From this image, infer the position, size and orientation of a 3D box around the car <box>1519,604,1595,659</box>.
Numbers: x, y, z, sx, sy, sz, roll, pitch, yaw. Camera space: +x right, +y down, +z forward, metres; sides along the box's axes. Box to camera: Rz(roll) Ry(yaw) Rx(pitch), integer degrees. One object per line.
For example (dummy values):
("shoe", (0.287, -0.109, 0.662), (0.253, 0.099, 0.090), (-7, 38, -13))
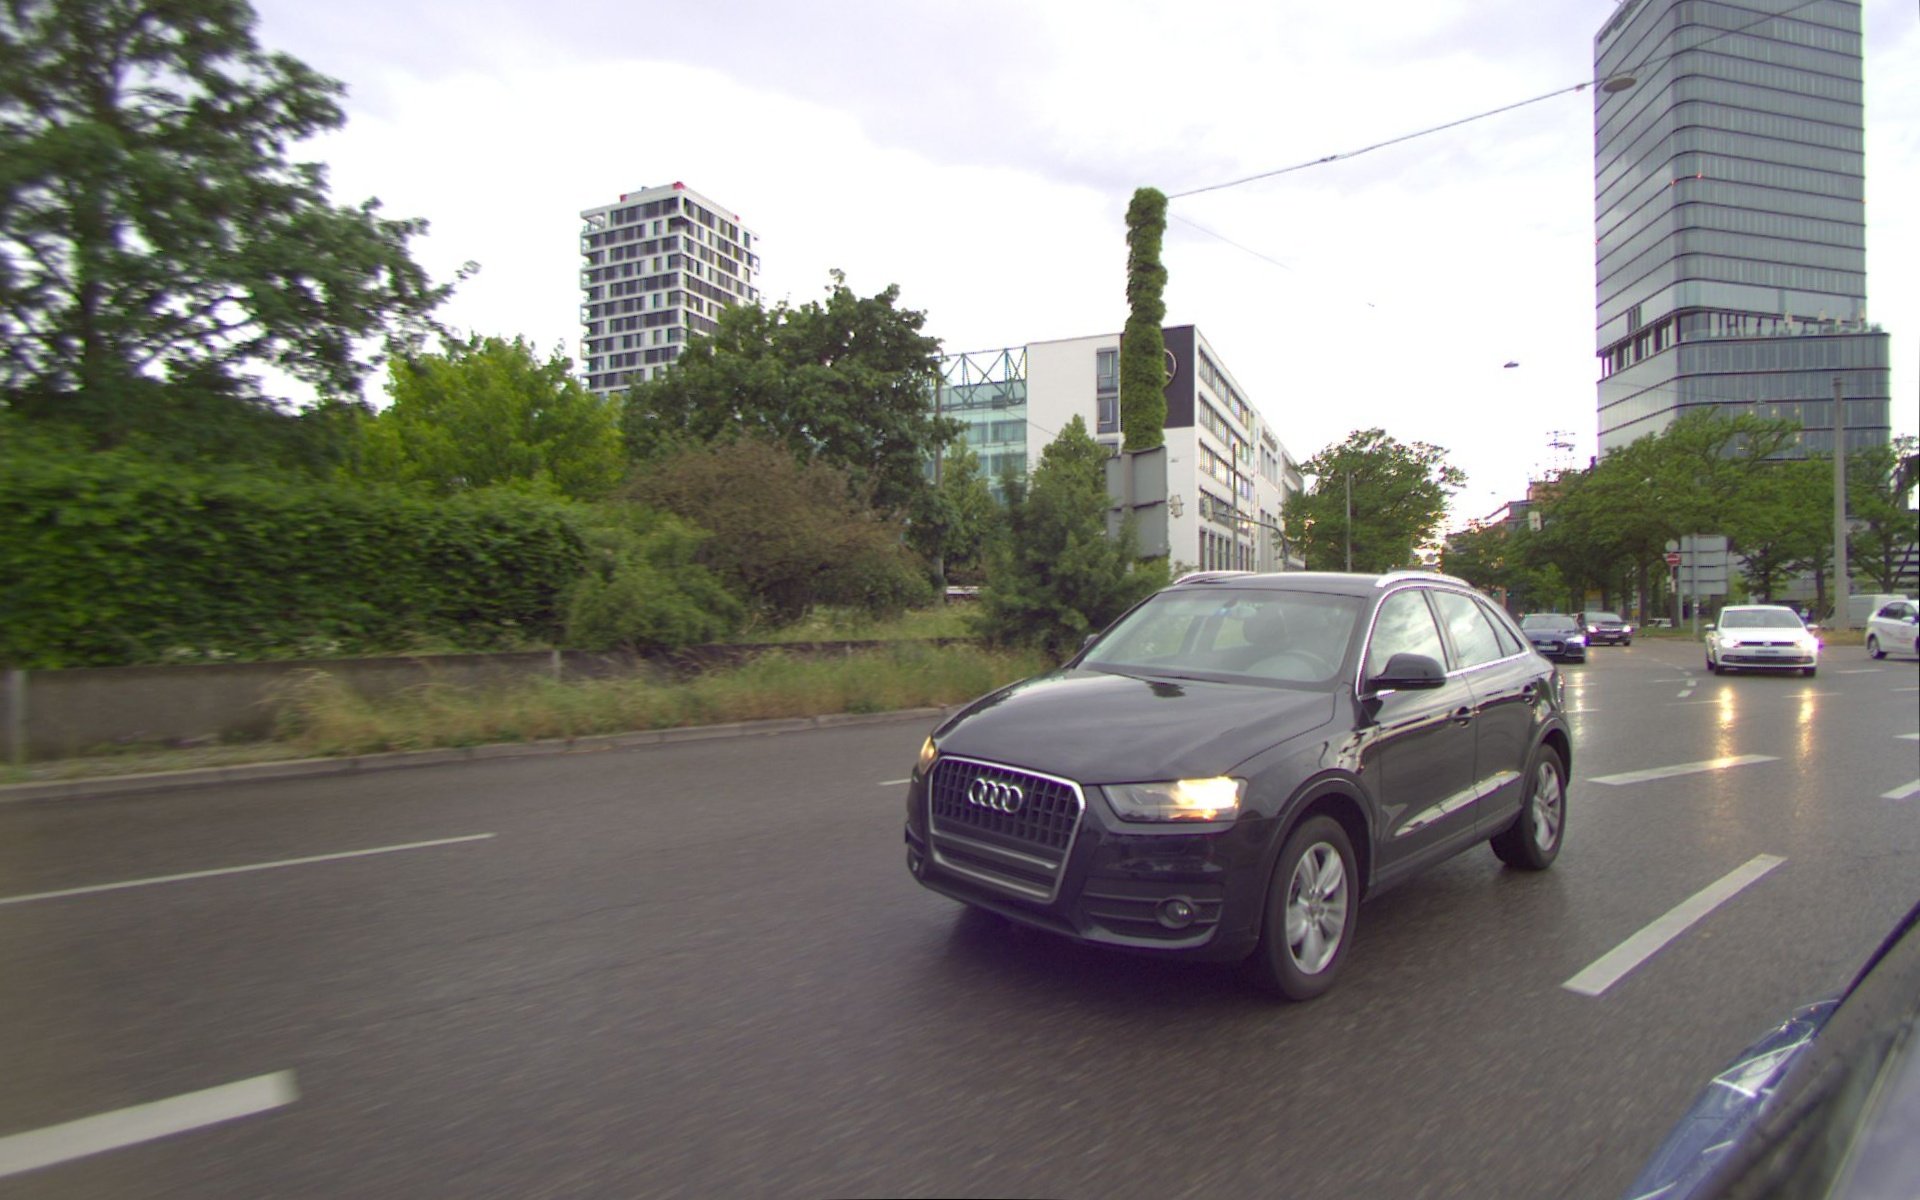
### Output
("car", (17.172, 0.859, 29.054), (1.747, 1.416, 3.954), (-1, 0, 32))

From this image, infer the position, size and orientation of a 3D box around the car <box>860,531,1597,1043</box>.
("car", (1.628, 0.553, 5.103), (4.057, 1.553, 1.727), (0, 0, -43))

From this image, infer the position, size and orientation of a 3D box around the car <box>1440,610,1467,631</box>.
("car", (36.856, 1.510, 75.690), (1.594, 1.533, 3.604), (-1, 0, 23))

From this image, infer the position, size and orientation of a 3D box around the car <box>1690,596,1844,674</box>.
("car", (17.116, 0.690, 21.687), (1.714, 1.491, 4.223), (-2, -1, 27))

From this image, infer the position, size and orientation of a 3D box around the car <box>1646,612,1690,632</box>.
("car", (54.590, 1.684, 78.097), (1.660, 1.504, 3.770), (-1, -1, 17))

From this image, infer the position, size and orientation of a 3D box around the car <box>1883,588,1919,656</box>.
("car", (25.321, 0.576, 25.617), (1.811, 1.603, 4.257), (-2, 2, 28))

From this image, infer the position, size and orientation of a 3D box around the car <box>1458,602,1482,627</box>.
("car", (43.995, 1.212, 87.301), (1.594, 2.039, 3.604), (-1, 0, 23))

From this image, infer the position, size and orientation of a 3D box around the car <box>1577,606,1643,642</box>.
("car", (27.635, 1.001, 43.159), (1.551, 1.433, 3.852), (-1, -1, 21))

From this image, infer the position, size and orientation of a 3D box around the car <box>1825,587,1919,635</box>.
("car", (52.711, 0.622, 58.334), (1.902, 2.617, 5.438), (-1, -1, 12))

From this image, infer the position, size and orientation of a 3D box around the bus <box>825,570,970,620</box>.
("bus", (-4.547, -0.297, 70.377), (11.781, 3.241, 1.972), (0, 0, 38))

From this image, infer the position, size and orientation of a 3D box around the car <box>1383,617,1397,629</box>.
("car", (63.463, 3.384, 149.253), (1.693, 1.730, 3.856), (-1, 0, 20))
